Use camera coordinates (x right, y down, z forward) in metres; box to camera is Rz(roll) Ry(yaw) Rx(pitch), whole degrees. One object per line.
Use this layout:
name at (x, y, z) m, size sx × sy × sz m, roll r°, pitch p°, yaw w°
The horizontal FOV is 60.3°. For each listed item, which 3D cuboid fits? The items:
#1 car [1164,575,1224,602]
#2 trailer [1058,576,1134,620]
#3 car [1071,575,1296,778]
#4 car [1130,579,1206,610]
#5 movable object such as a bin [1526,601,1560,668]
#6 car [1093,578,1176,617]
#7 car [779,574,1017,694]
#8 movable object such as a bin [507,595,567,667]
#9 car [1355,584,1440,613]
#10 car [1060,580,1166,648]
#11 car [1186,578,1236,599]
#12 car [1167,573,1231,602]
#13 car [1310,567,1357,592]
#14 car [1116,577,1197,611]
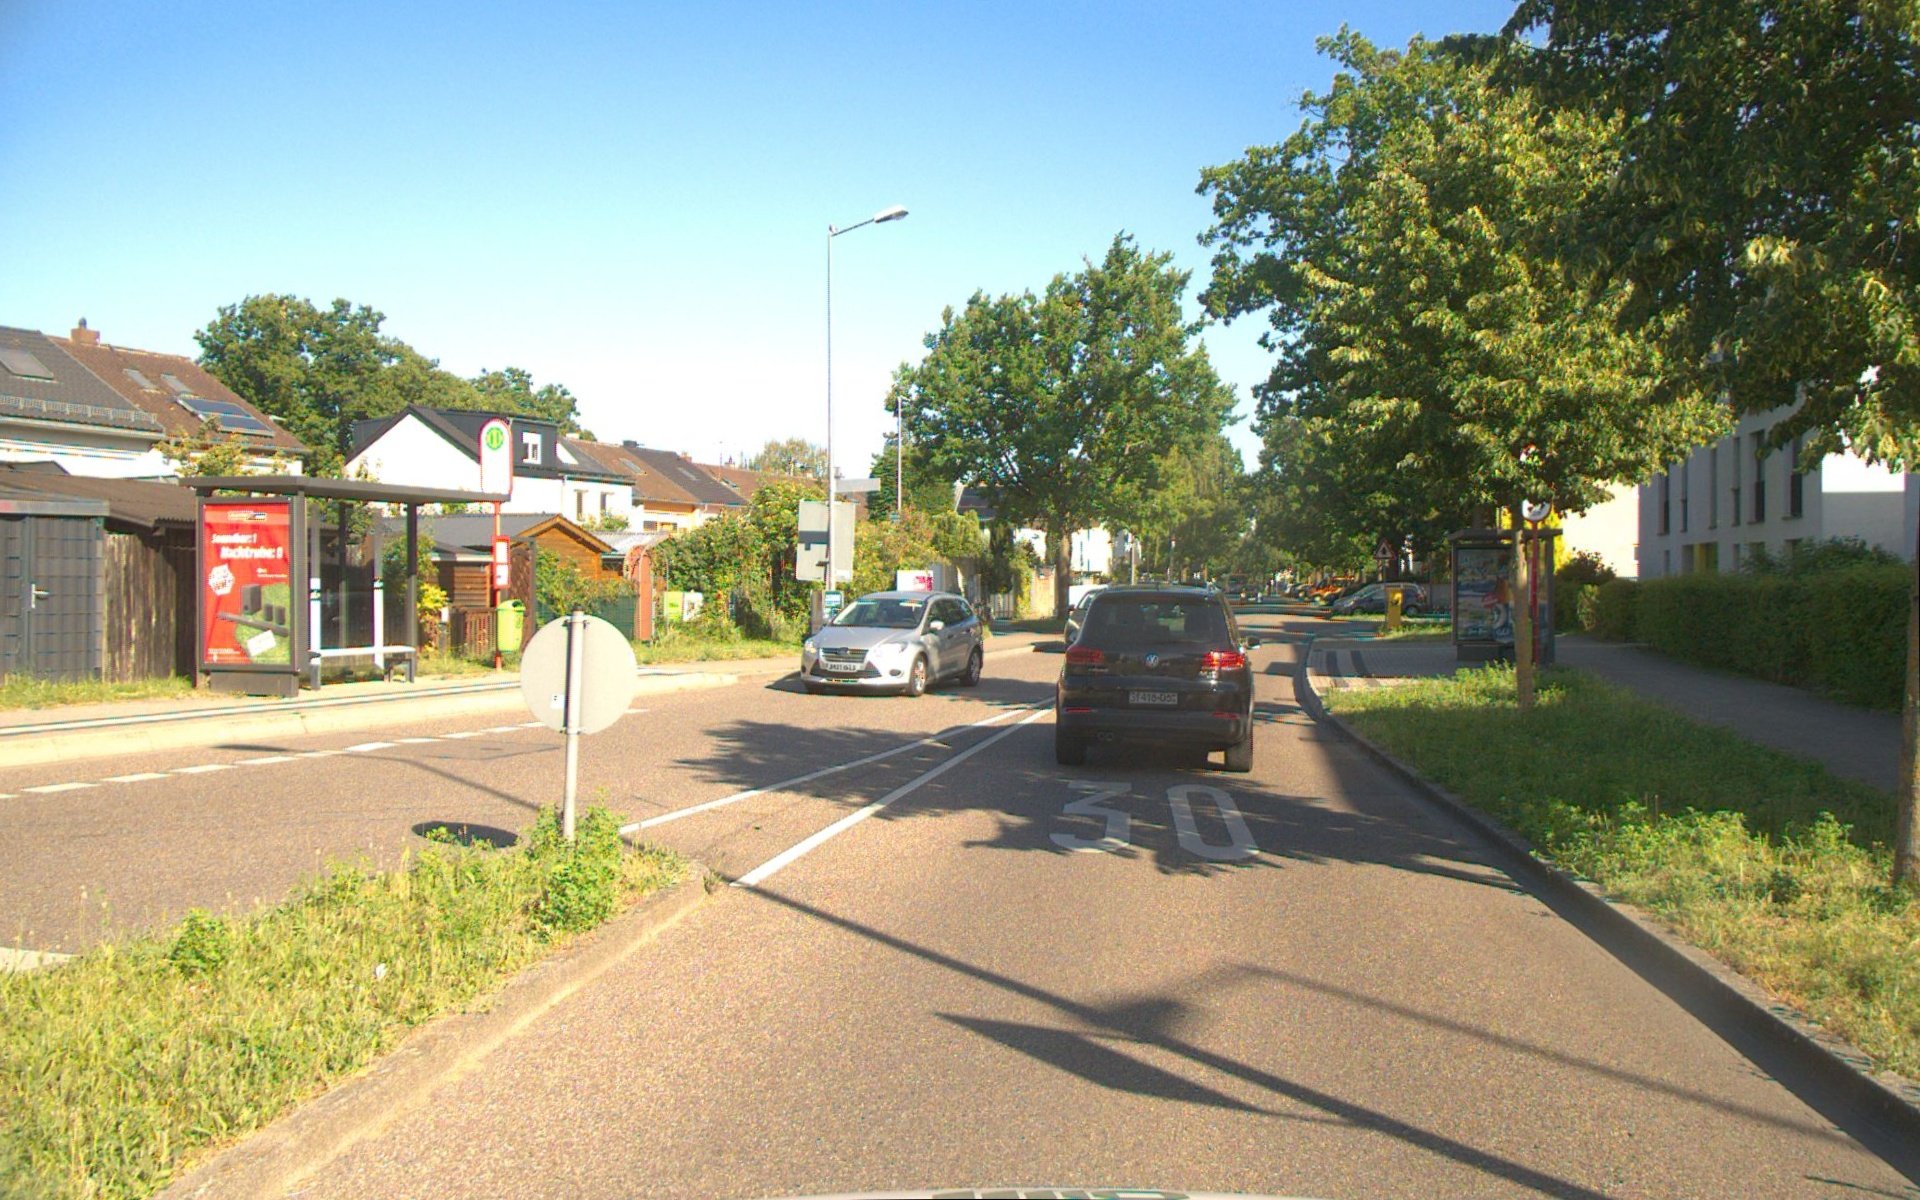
car at (15.773, -0.753, 111.276) m, size 3.902 × 1.750 × 1.822 m, roll 0°, pitch -1°, yaw 12°
trailer at (5.397, -0.078, 65.357) m, size 2.903 × 1.685 × 1.398 m, roll 0°, pitch 0°, yaw 8°
car at (2.247, 0.627, 16.520) m, size 1.888 × 1.683 × 4.518 m, roll 2°, pitch 1°, yaw 8°
car at (11.329, -0.317, 89.858) m, size 3.902 × 1.668 × 2.002 m, roll 0°, pitch 1°, yaw 14°
movable object such as a bin at (9.282, 0.542, 26.348) m, size 0.361 × 1.034 × 0.600 m, roll 0°, pitch 1°, yaw 3°
car at (7.398, -0.129, 70.078) m, size 3.473 × 1.641 × 1.854 m, roll 0°, pitch 0°, yaw 6°
car at (-0.816, 0.455, 25.139) m, size 2.163 × 1.618 × 4.536 m, roll 1°, pitch 0°, yaw 18°
movable object such as a bin at (-6.145, 0.436, 24.037) m, size 0.580 × 0.984 × 0.559 m, roll 4°, pitch 2°, yaw 17°
car at (21.154, -0.067, 80.173) m, size 3.902 × 1.392 × 1.848 m, roll 0°, pitch 0°, yaw 12°
car at (3.739, 0.296, 39.698) m, size 1.951 × 1.468 × 4.454 m, roll 2°, pitch 1°, yaw 13°
car at (20.667, -0.946, 136.290) m, size 3.903 × 1.713 × 1.924 m, roll 0°, pitch 0°, yaw 5°
car at (16.429, -0.846, 113.665) m, size 4.296 × 1.973 × 1.580 m, roll 0°, pitch -1°, yaw 8°
car at (31.992, -1.717, 141.724) m, size 3.902 × 2.049 × 2.001 m, roll 0°, pitch -2°, yaw 13°
car at (10.062, -0.318, 84.664) m, size 3.902 × 1.699 × 2.002 m, roll 0°, pitch 1°, yaw 13°
